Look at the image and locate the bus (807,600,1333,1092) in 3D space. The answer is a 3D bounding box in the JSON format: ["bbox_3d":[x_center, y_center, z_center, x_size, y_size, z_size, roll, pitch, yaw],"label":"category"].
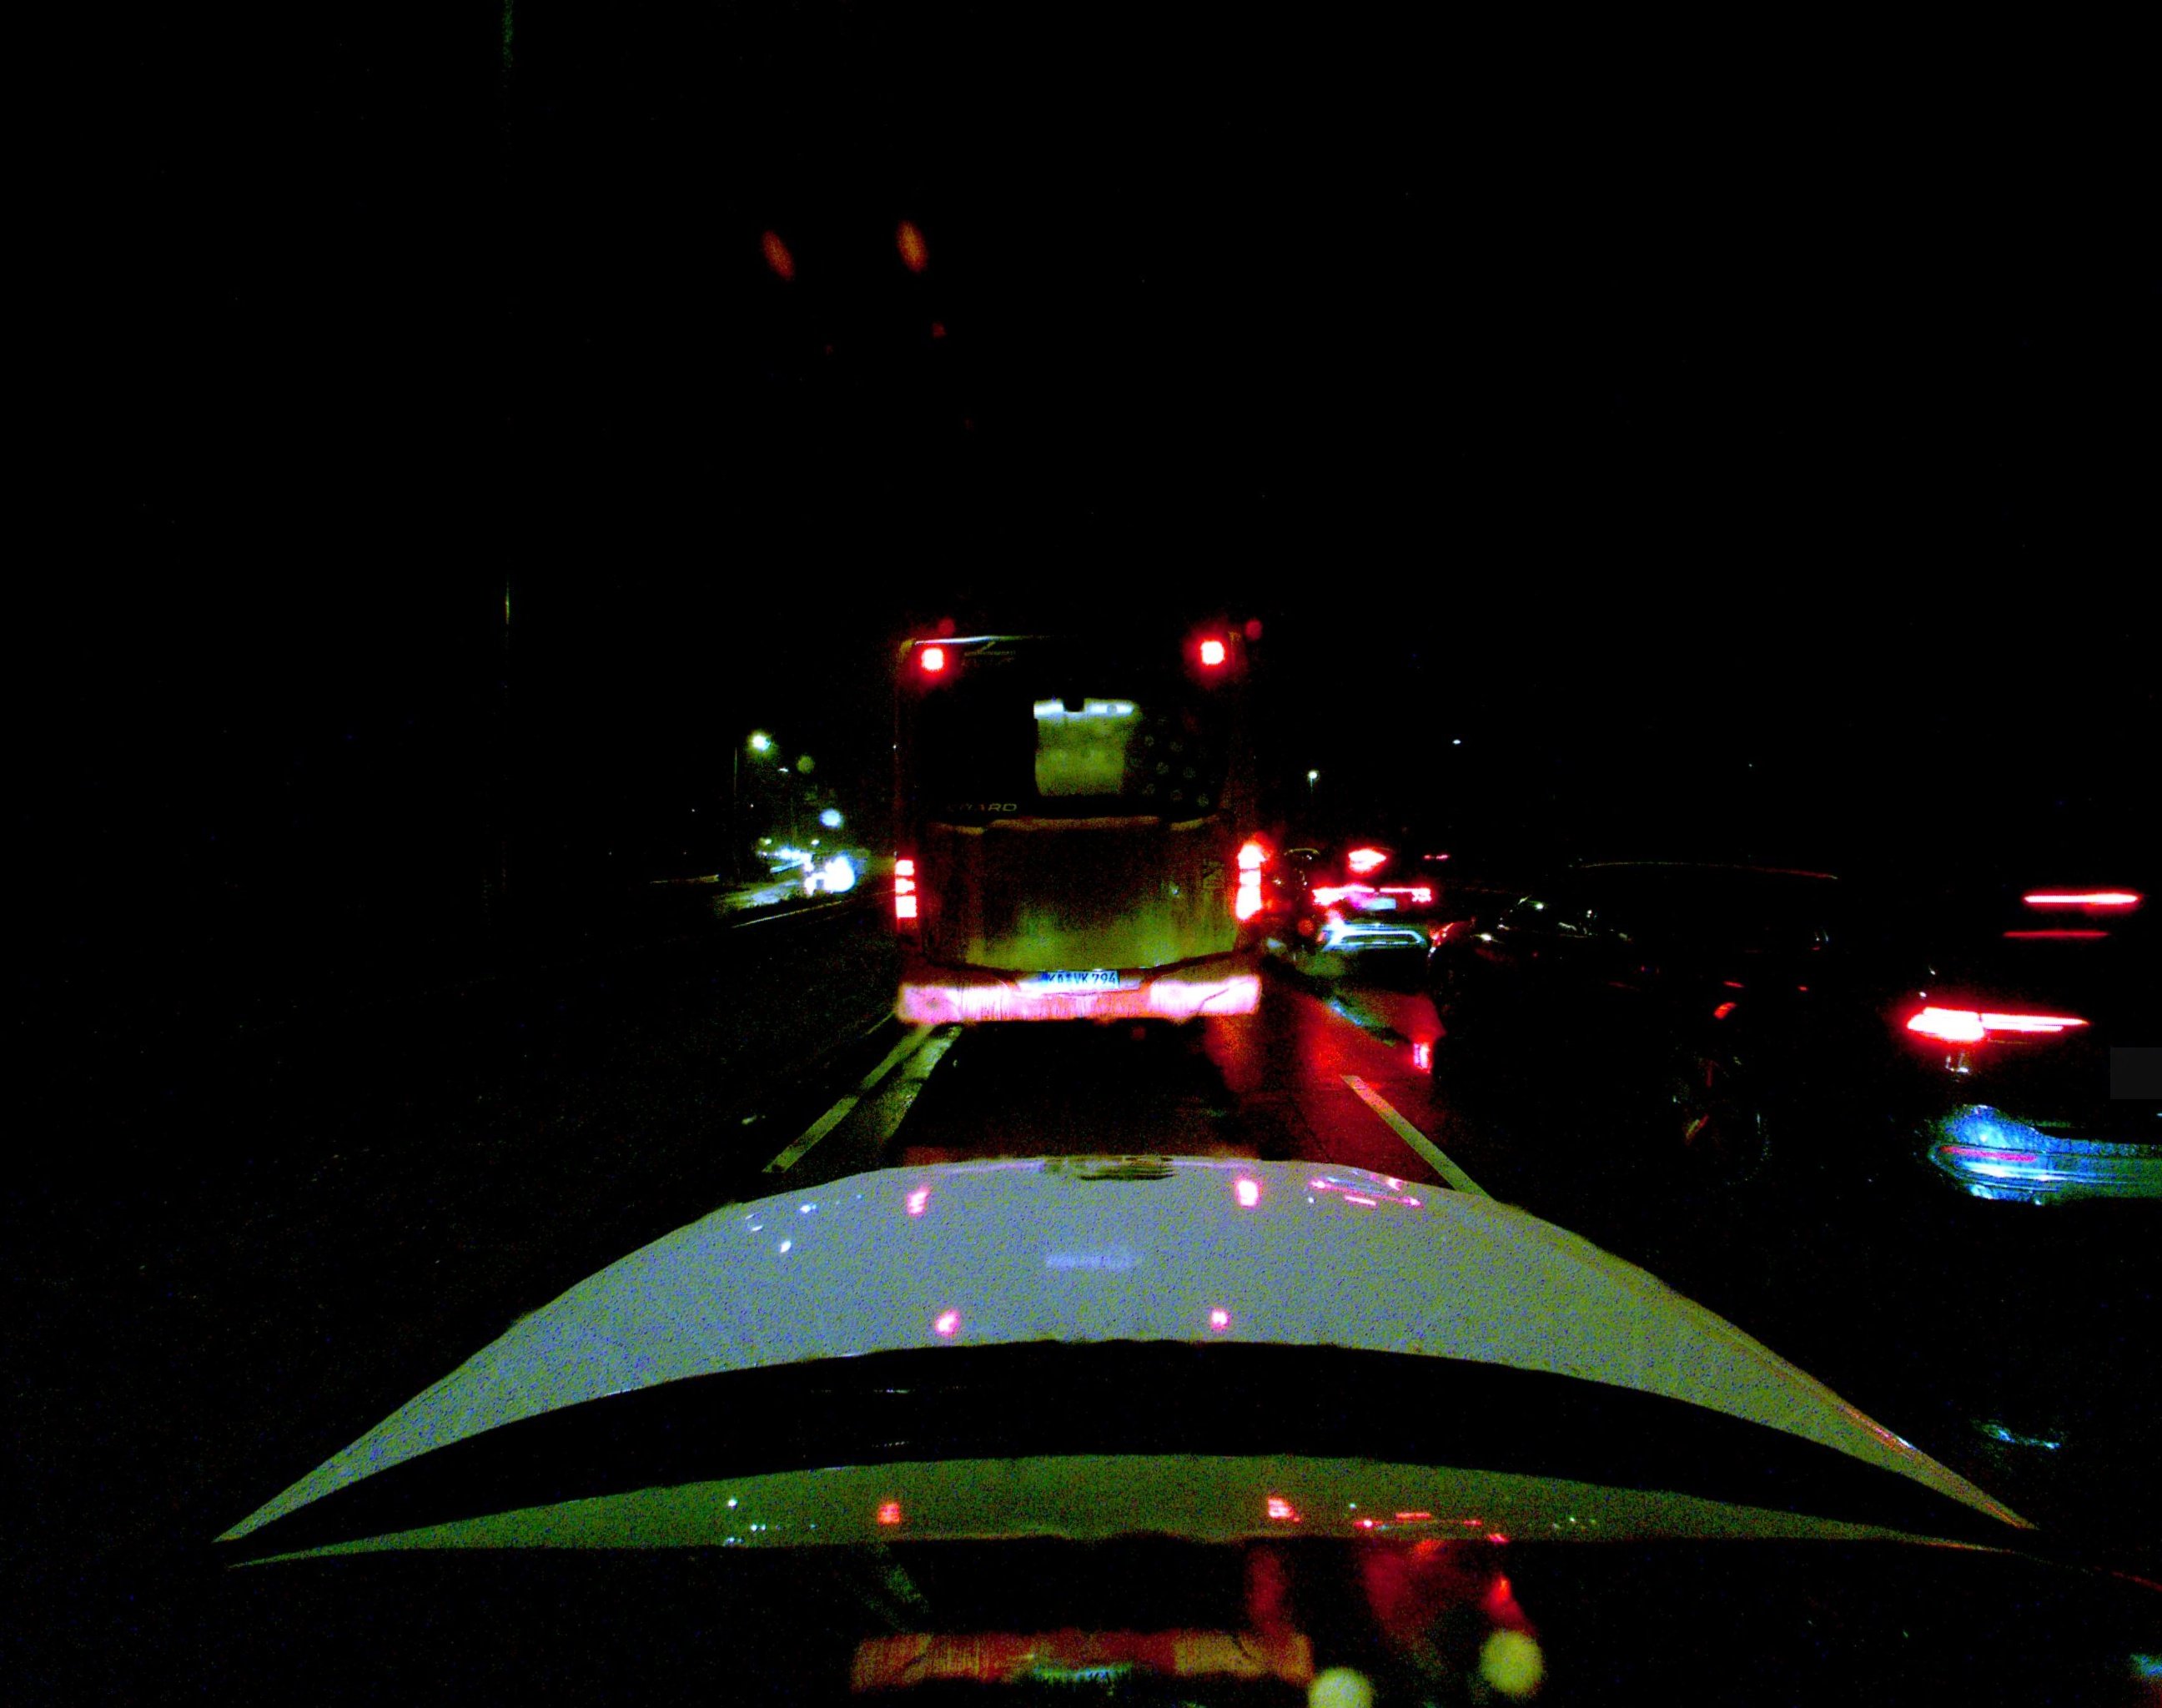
[{"bbox_3d":[-0.037,-0.158,9.969,3.274,3.050,9.544,-2,1,0],"label":"bus"}]

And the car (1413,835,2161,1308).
[{"bbox_3d":[3.682,0.699,4.875,1.666,1.506,4.561,0,0,2],"label":"car"}]

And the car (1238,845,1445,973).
[{"bbox_3d":[3.517,0.675,11.770,1.672,1.521,3.959,0,-1,-1],"label":"car"}]

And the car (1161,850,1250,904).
[{"bbox_3d":[3.553,0.635,23.949,1.987,1.441,3.999,0,-1,0],"label":"car"}]

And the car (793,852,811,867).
[{"bbox_3d":[-32.337,0.624,94.241,1.772,1.631,4.220,-1,0,-21],"label":"car"}]

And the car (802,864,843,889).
[{"bbox_3d":[-17.418,1.486,55.120,1.994,1.508,4.823,-2,0,-10],"label":"car"}]

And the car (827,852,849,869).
[{"bbox_3d":[-20.449,0.549,68.563,1.716,1.423,4.640,0,0,-17],"label":"car"}]

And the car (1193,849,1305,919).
[{"bbox_3d":[3.594,0.601,18.078,1.680,1.330,3.960,-2,0,1],"label":"car"}]

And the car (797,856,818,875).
[{"bbox_3d":[-26.114,1.090,77.710,1.763,1.739,3.973,0,-1,-20],"label":"car"}]

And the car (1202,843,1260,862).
[{"bbox_3d":[12.591,-0.113,68.472,4.477,1.519,1.853,0,2,-6],"label":"car"}]

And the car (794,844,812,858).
[{"bbox_3d":[-29.457,-0.286,86.255,1.633,1.369,3.695,0,-1,-22],"label":"car"}]
